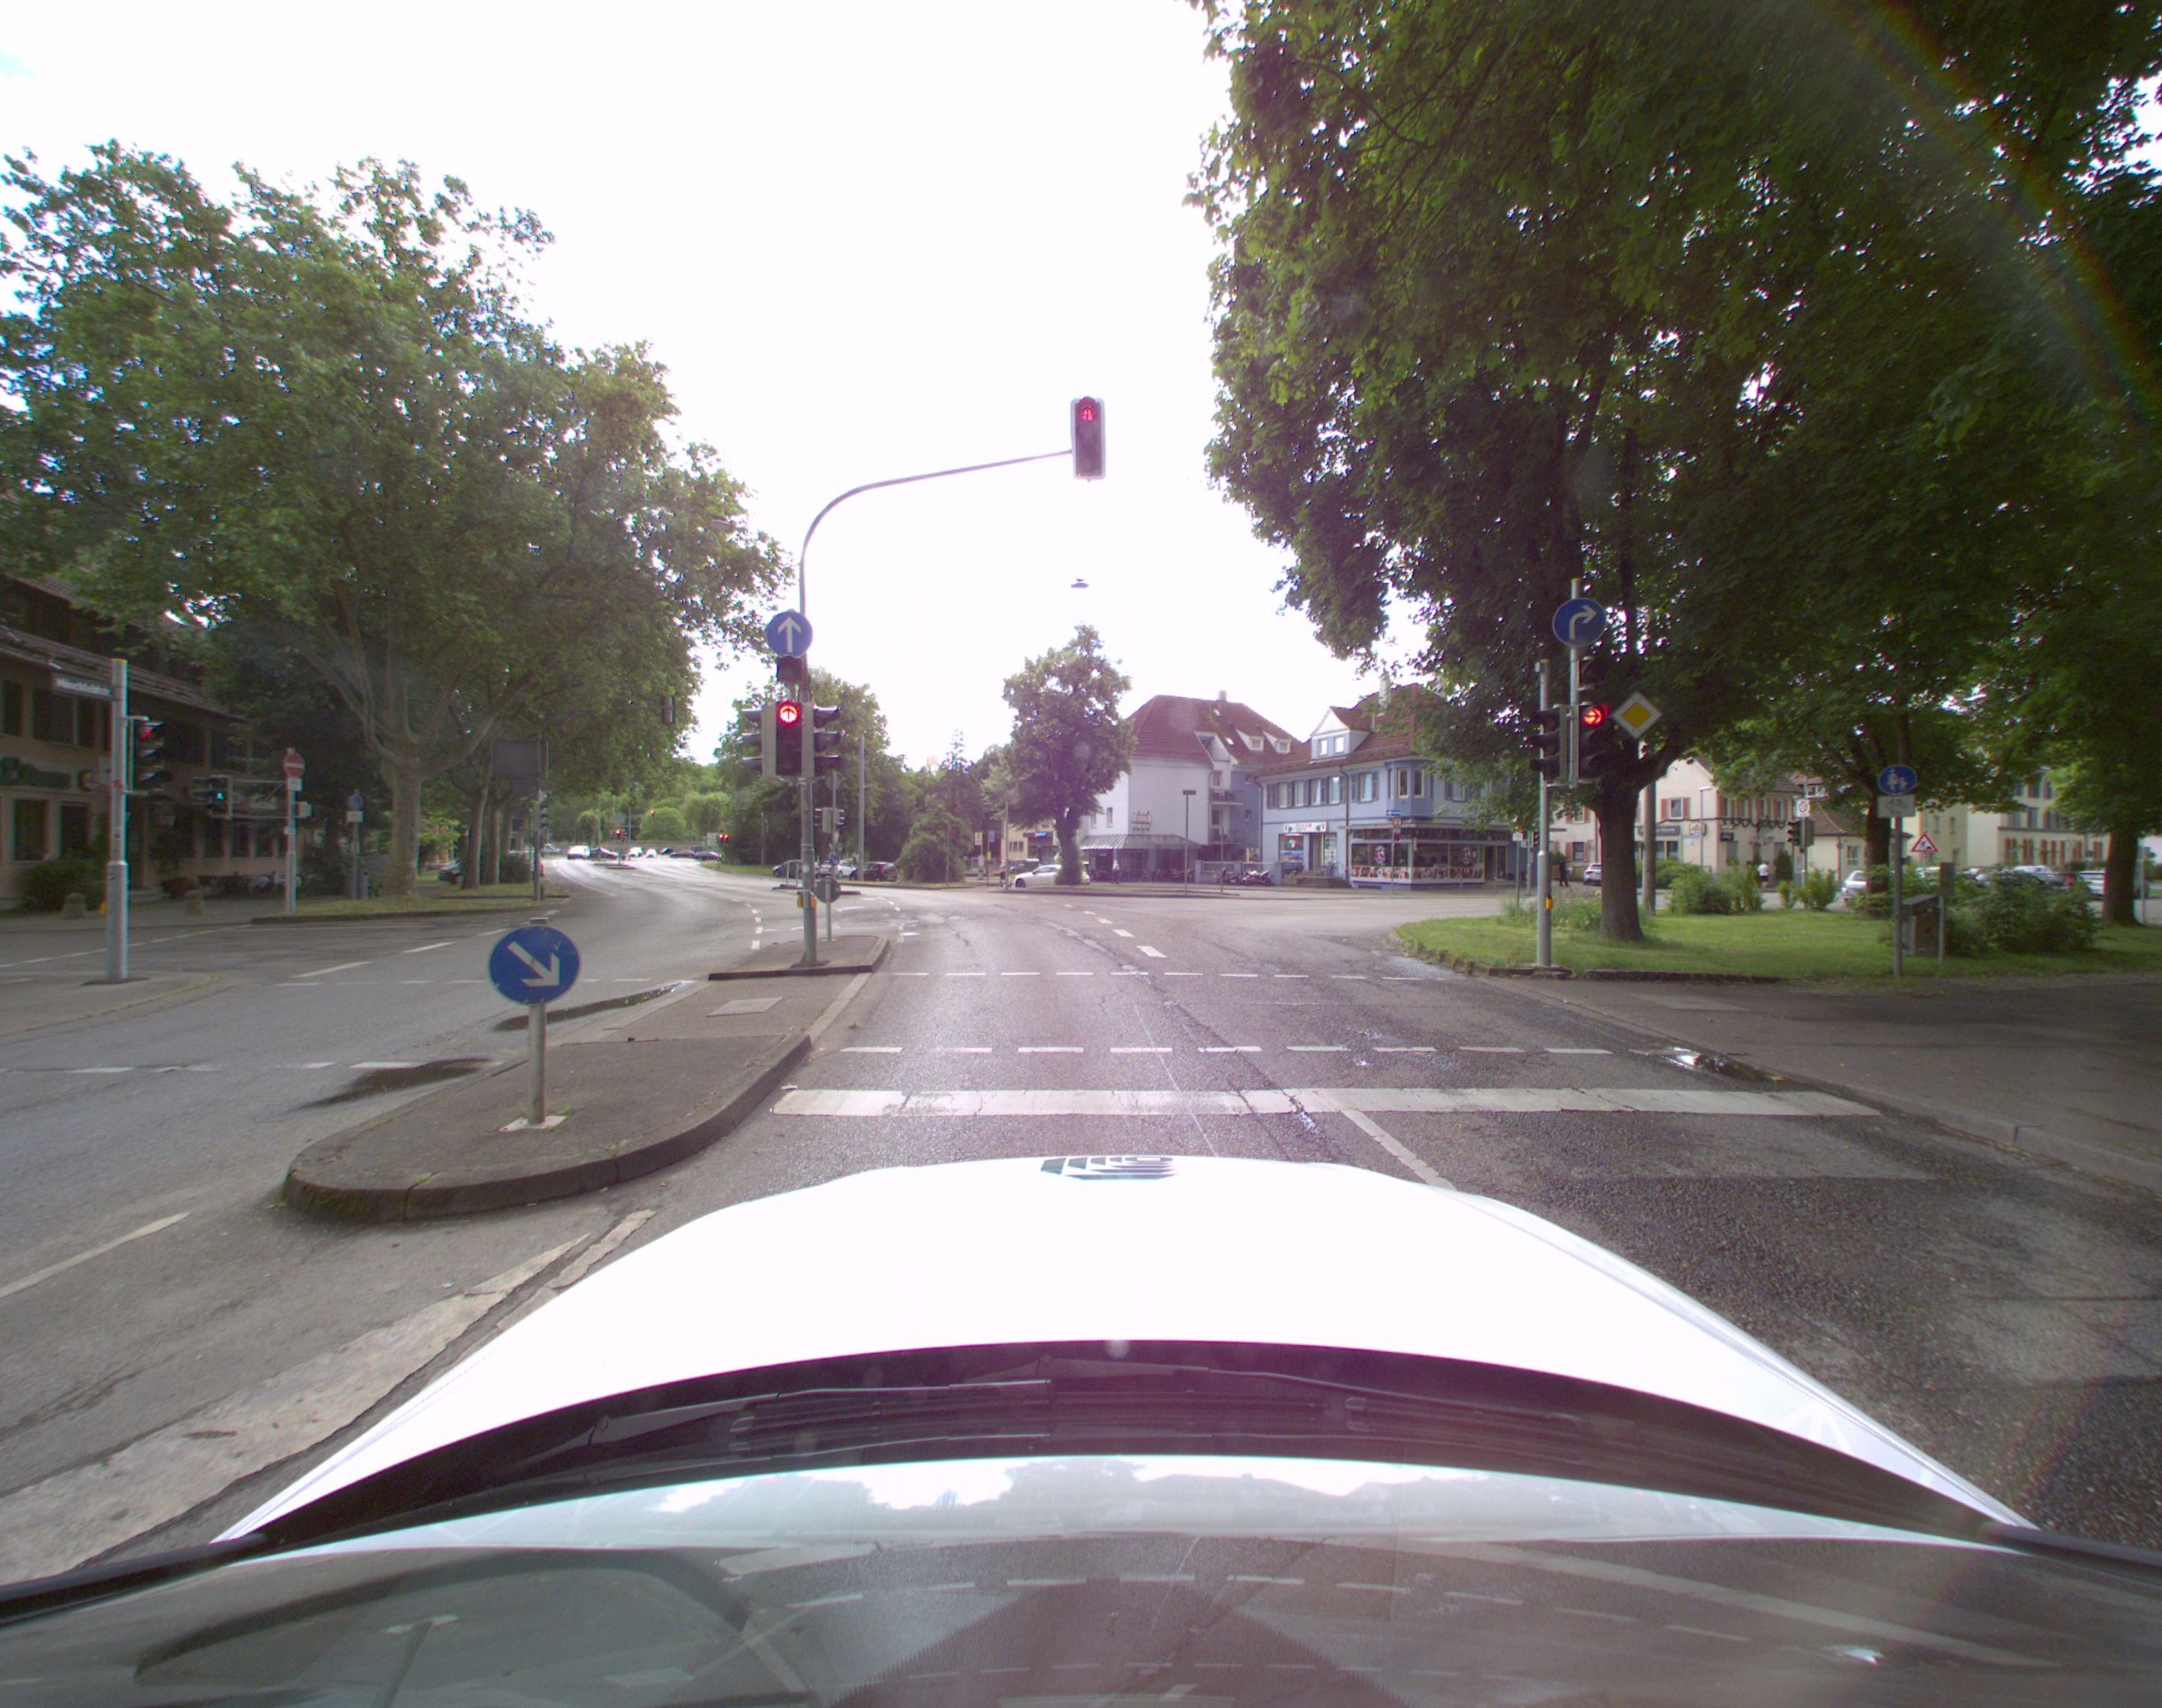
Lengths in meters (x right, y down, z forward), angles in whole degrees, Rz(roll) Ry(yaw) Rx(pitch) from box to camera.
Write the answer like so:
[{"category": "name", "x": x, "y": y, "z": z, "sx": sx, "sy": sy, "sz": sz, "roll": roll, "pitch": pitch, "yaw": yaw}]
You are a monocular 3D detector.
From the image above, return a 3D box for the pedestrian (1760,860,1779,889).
[{"category": "pedestrian", "x": 39.975, "y": 1.188, "z": 47.285, "sx": 0.611, "sy": 1.649, "sz": 0.606, "roll": 0, "pitch": -1, "yaw": -27}]

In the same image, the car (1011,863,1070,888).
[{"category": "car", "x": -2.306, "y": 1.202, "z": 46.240, "sx": 3.134, "sy": 1.354, "sz": 1.448, "roll": 0, "pitch": -1, "yaw": 36}]

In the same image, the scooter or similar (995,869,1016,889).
[{"category": "scooter or similar", "x": -3.975, "y": 1.290, "z": 42.883, "sx": 0.413, "sy": 1.011, "sz": 1.575, "roll": -1, "pitch": -1, "yaw": 22}]

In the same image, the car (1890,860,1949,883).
[{"category": "car", "x": 55.118, "y": 1.125, "z": 53.532, "sx": 4.007, "sy": 1.420, "sz": 1.544, "roll": 0, "pitch": 0, "yaw": -26}]

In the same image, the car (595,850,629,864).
[{"category": "car", "x": -69.692, "y": 0.495, "z": 120.956, "sx": 3.993, "sy": 2.014, "sz": 1.855, "roll": 0, "pitch": -1, "yaw": -14}]

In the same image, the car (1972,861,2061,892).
[{"category": "car", "x": 42.218, "y": 0.975, "z": 36.754, "sx": 3.510, "sy": 1.321, "sz": 1.549, "roll": 0, "pitch": 0, "yaw": -21}]

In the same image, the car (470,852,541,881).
[{"category": "car", "x": -35.482, "y": 0.758, "z": 50.284, "sx": 3.461, "sy": 1.742, "sz": 1.557, "roll": 0, "pitch": -1, "yaw": -31}]

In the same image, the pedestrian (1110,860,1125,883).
[{"category": "pedestrian", "x": 2.395, "y": 1.145, "z": 53.638, "sx": 0.759, "sy": 1.545, "sz": 0.682, "roll": -1, "pitch": -1, "yaw": 41}]

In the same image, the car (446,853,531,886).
[{"category": "car", "x": -30.999, "y": 0.785, "z": 42.718, "sx": 3.461, "sy": 1.641, "sz": 1.557, "roll": 0, "pitch": -1, "yaw": -31}]

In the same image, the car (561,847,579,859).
[{"category": "car", "x": -61.247, "y": -0.123, "z": 97.604, "sx": 1.440, "sy": 1.416, "sz": 2.838, "roll": 0, "pitch": -1, "yaw": -39}]

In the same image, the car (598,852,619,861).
[{"category": "car", "x": -106.177, "y": 0.497, "z": 183.027, "sx": 4.011, "sy": 2.014, "sz": 1.981, "roll": 0, "pitch": -1, "yaw": -29}]

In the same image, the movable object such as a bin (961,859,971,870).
[{"category": "movable object such as a bin", "x": -12.220, "y": 1.120, "z": 86.640, "sx": 0.953, "sy": 1.115, "sz": 0.381, "roll": 0, "pitch": -1, "yaw": -19}]

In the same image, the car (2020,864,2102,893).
[{"category": "car", "x": 47.005, "y": 1.165, "z": 39.061, "sx": 3.511, "sy": 1.321, "sz": 1.549, "roll": 0, "pitch": 0, "yaw": -22}]

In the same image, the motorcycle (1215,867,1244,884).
[{"category": "motorcycle", "x": 9.116, "y": 1.313, "z": 50.079, "sx": 0.699, "sy": 1.064, "sz": 1.617, "roll": 0, "pitch": -1, "yaw": -44}]

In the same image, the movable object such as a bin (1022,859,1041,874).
[{"category": "movable object such as a bin", "x": -4.522, "y": 1.134, "z": 74.250, "sx": 1.447, "sy": 1.409, "sz": 0.959, "roll": 0, "pitch": -1, "yaw": -25}]

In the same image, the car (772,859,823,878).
[{"category": "car", "x": -22.437, "y": 1.115, "z": 64.486, "sx": 3.520, "sy": 1.464, "sz": 1.591, "roll": 0, "pitch": 0, "yaw": 14}]

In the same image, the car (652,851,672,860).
[{"category": "car", "x": -95.498, "y": 0.439, "z": 185.603, "sx": 4.011, "sy": 2.014, "sz": 1.981, "roll": 0, "pitch": -1, "yaw": -29}]

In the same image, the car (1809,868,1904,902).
[{"category": "car", "x": 31.965, "y": 1.251, "z": 33.570, "sx": 3.511, "sy": 1.321, "sz": 1.549, "roll": 0, "pitch": 0, "yaw": -22}]

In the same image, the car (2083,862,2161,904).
[{"category": "car", "x": 52.833, "y": 1.433, "z": 41.128, "sx": 4.004, "sy": 2.014, "sz": 1.770, "roll": 0, "pitch": -1, "yaw": -23}]

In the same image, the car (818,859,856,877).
[{"category": "car", "x": -20.078, "y": 1.131, "z": 67.188, "sx": 1.534, "sy": 1.464, "sz": 3.407, "roll": 0, "pitch": 0, "yaw": 13}]

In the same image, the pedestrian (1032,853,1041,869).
[{"category": "pedestrian", "x": -4.368, "y": 0.719, "z": 80.003, "sx": 0.681, "sy": 1.545, "sz": 0.701, "roll": 0, "pitch": -1, "yaw": -32}]

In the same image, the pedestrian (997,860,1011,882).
[{"category": "pedestrian", "x": -5.479, "y": 1.215, "z": 58.196, "sx": 0.699, "sy": 1.545, "sz": 0.682, "roll": -1, "pitch": -1, "yaw": 42}]

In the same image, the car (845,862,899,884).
[{"category": "car", "x": -13.905, "y": 1.267, "z": 54.206, "sx": 3.549, "sy": 1.394, "sz": 1.481, "roll": 0, "pitch": -1, "yaw": 34}]

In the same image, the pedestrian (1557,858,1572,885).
[{"category": "pedestrian", "x": 27.669, "y": 1.002, "z": 46.593, "sx": 0.458, "sy": 1.517, "sz": 0.585, "roll": 0, "pitch": -1, "yaw": -13}]

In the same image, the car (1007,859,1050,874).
[{"category": "car", "x": -4.880, "y": 1.135, "z": 76.157, "sx": 3.752, "sy": 1.345, "sz": 1.422, "roll": 0, "pitch": 0, "yaw": -25}]

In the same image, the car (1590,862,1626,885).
[{"category": "car", "x": 32.605, "y": 1.183, "z": 50.342, "sx": 1.481, "sy": 1.369, "sz": 3.198, "roll": -1, "pitch": -1, "yaw": 40}]

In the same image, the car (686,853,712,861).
[{"category": "car", "x": -70.003, "y": 0.545, "z": 149.192, "sx": 3.993, "sy": 1.551, "sz": 1.860, "roll": 0, "pitch": 0, "yaw": -15}]

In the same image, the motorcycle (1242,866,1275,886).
[{"category": "motorcycle", "x": 10.537, "y": 1.287, "z": 48.265, "sx": 1.777, "sy": 1.121, "sz": 0.699, "roll": 0, "pitch": -1, "yaw": 40}]
